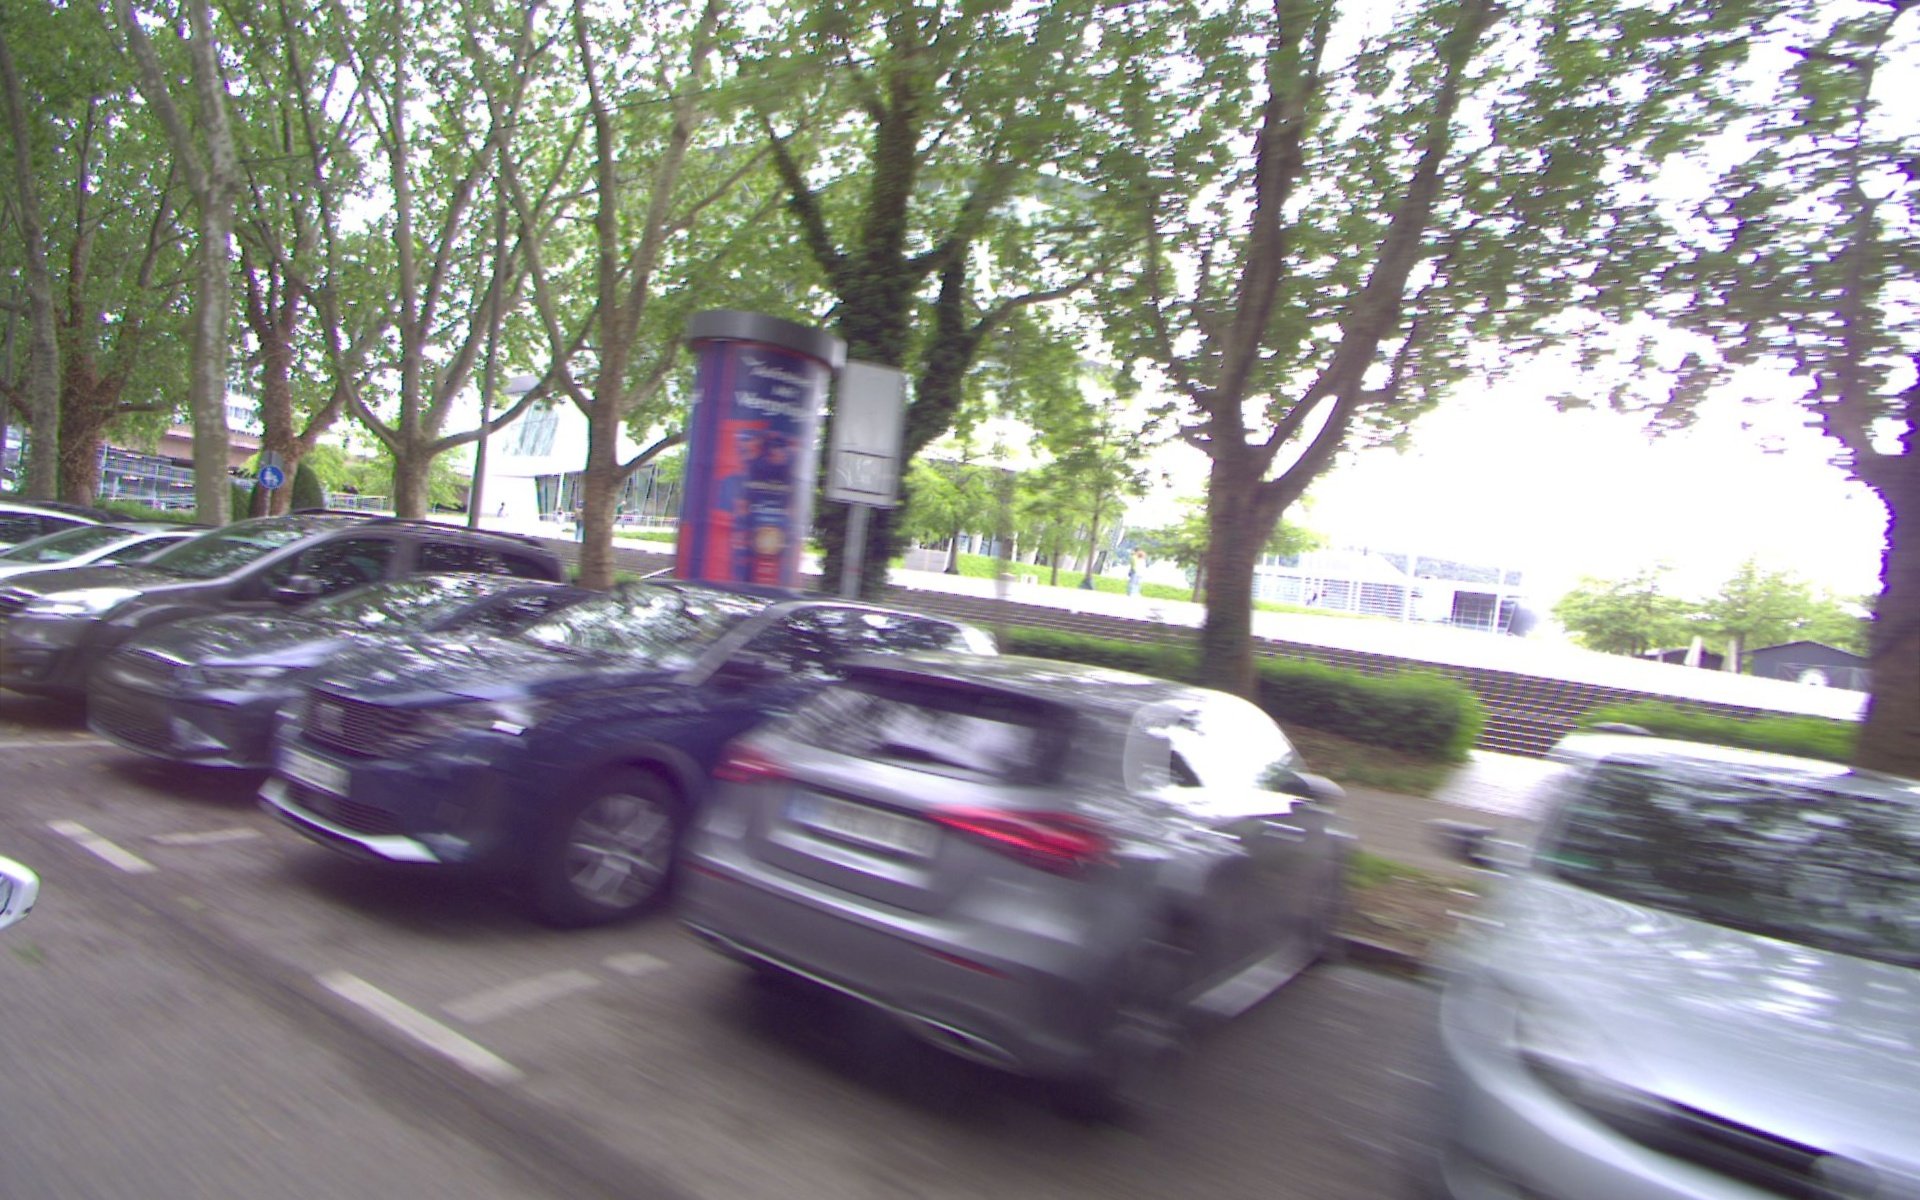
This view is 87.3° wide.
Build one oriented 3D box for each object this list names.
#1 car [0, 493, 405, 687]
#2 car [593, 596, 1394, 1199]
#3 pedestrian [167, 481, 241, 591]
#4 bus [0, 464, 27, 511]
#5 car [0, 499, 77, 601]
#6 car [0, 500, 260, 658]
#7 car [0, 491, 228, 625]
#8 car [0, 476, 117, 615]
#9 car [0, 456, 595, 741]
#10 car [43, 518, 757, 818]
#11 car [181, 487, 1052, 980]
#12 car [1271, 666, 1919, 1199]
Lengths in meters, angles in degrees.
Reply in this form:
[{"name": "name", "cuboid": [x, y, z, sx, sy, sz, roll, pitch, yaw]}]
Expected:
[{"name": "car", "cuboid": [-7.876, -0.083, 9.547, 1.698, 1.474, 4.157, 7, -2, 31]}, {"name": "car", "cuboid": [0.706, 1.022, 4.924, 1.893, 1.429, 4.355, 8, -2, 31]}, {"name": "pedestrian", "cuboid": [-14.894, -1.240, 19.844, 0.587, 2.038, 0.788, 7, 0, 15]}, {"name": "bus", "cuboid": [-90.645, -10.864, 89.783, 2.705, 3.980, 11.096, 7, -2, 10]}, {"name": "car", "cuboid": [-16.206, -1.035, 14.794, 1.916, 1.473, 4.357, 8, -2, 29]}, {"name": "car", "cuboid": [-10.018, -0.290, 10.804, 1.636, 1.443, 3.650, 8, -2, 28]}, {"name": "car", "cuboid": [-11.819, -0.584, 12.938, 1.652, 1.511, 3.438, 7, 0, 30]}, {"name": "car", "cuboid": [-14.340, -0.983, 13.316, 1.893, 1.780, 4.357, 7, -2, 30]}, {"name": "car", "cuboid": [-5.600, 0.116, 8.623, 1.805, 1.765, 4.357, 8, -2, 29]}, {"name": "car", "cuboid": [-3.564, 0.509, 7.213, 1.714, 1.396, 4.049, 8, -2, 31]}, {"name": "car", "cuboid": [-1.423, 0.652, 5.972, 1.842, 1.658, 4.599, 8, -2, 33]}, {"name": "car", "cuboid": [2.885, 1.255, 3.623, 1.896, 1.519, 4.348, 7, -2, 38]}]
